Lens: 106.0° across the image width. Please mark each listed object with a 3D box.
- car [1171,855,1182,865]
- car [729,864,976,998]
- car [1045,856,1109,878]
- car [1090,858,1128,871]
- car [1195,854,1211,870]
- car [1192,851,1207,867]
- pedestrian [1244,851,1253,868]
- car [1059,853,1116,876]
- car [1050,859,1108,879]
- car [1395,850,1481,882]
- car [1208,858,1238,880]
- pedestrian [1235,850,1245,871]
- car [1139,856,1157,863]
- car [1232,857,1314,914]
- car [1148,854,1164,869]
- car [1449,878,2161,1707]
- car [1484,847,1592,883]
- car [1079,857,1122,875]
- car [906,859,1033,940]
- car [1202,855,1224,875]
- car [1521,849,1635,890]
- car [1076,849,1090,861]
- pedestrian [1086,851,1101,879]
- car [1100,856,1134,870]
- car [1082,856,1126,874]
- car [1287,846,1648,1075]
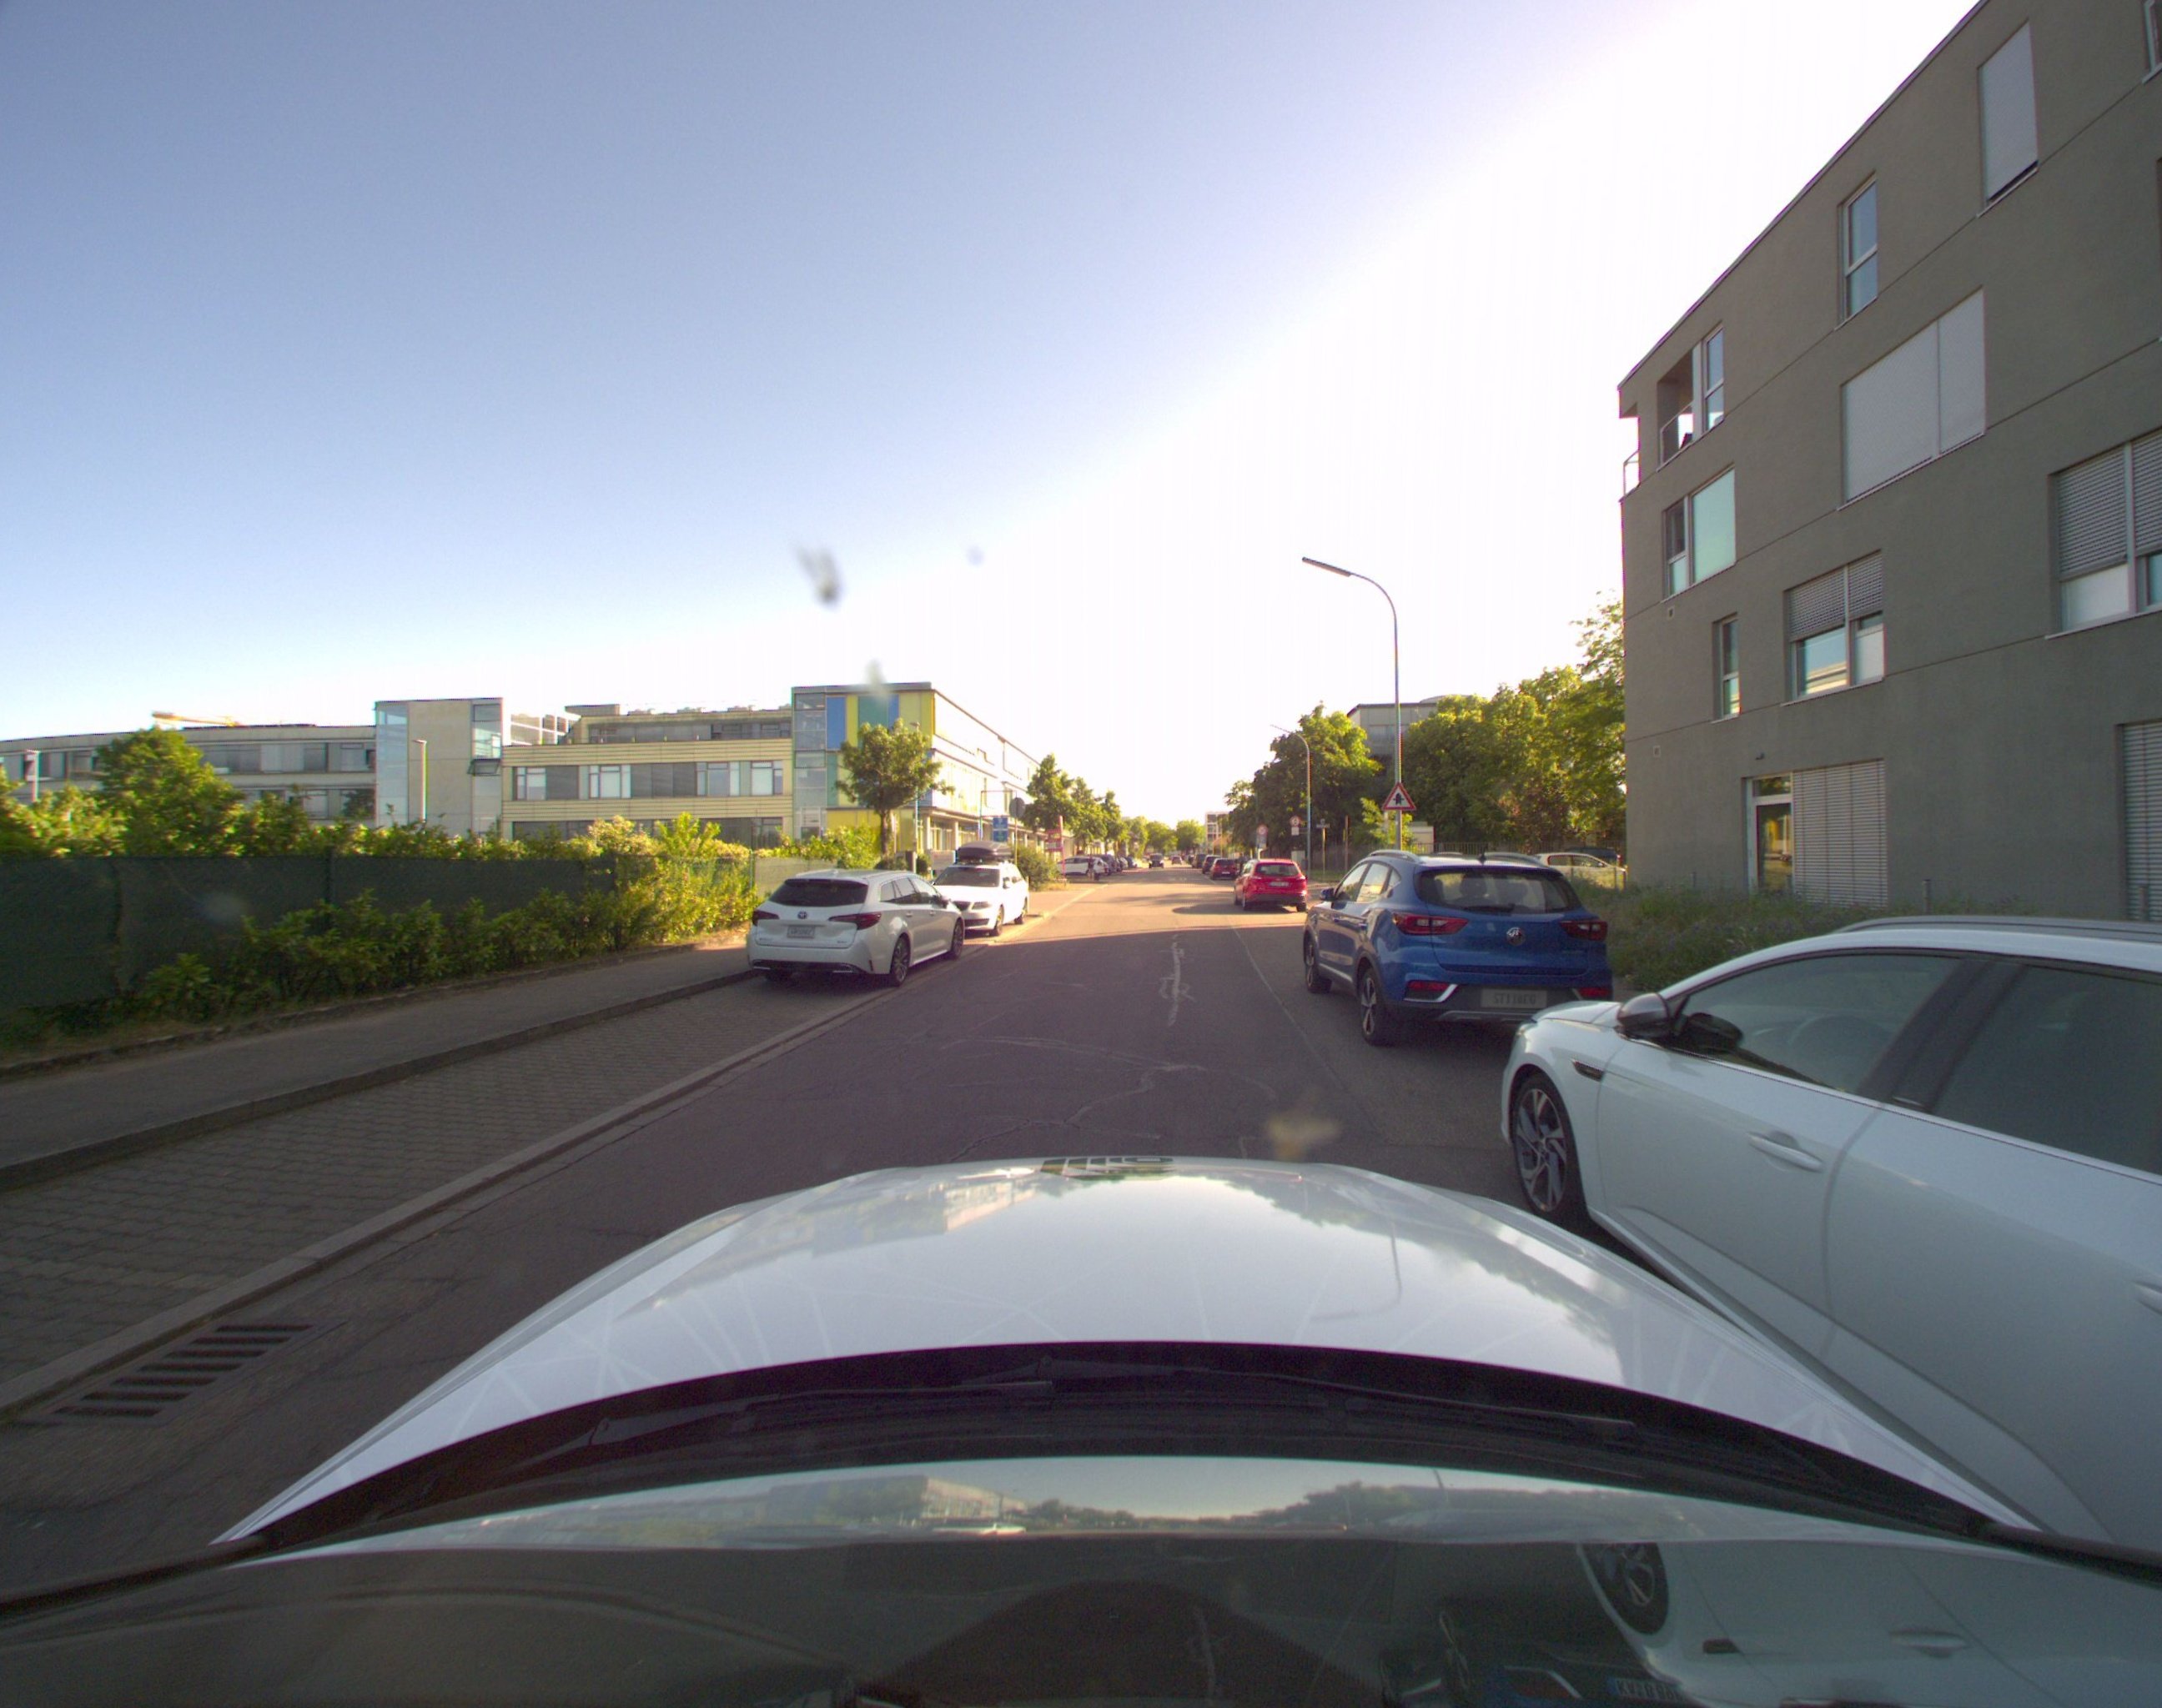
[{"bbox_3d":[16.021,0.991,136.453,1.734,1.543,4.007,0,0,6],"label":"car"},{"bbox_3d":[-2.929,0.908,11.624,1.738,1.446,4.550,1,0,7],"label":"car"},{"bbox_3d":[-0.276,0.981,61.549,4.584,1.651,1.872,-1,-1,9],"label":"car"},{"bbox_3d":[2.953,1.104,85.250,3.971,1.358,1.744,1,0,2],"label":"car"},{"bbox_3d":[14.570,0.903,97.469,1.724,1.830,3.912,-1,0,7],"label":"car"},{"bbox_3d":[15.941,0.667,109.906,1.865,1.978,4.007,-2,0,6],"label":"car"},{"bbox_3d":[16.704,0.585,81.209,0.695,1.661,0.753,-3,-1,6],"label":"pedestrian"},{"bbox_3d":[0.579,0.875,69.882,4.717,1.865,1.831,1,0,6],"label":"car"},{"bbox_3d":[-0.130,1.183,64.264,4.410,1.501,1.831,-1,-1,6],"label":"car"},{"bbox_3d":[17.241,0.577,39.444,3.527,1.486,1.603,-1,0,7],"label":"car"},{"bbox_3d":[9.858,1.014,56.661,1.711,1.455,4.659,0,0,6],"label":"car"},{"bbox_3d":[13.939,0.540,71.229,0.714,1.758,0.886,-3,-1,7],"label":"pedestrian"},{"bbox_3d":[15.222,1.235,185.567,3.966,1.519,2.003,-1,-2,6],"label":"car"},{"bbox_3d":[5.633,0.857,24.378,1.810,1.499,4.459,1,0,6],"label":"car"},{"bbox_3d":[9.872,1.003,107.258,1.945,1.867,5.264,-1,0,6],"label":"car"},{"bbox_3d":[2.624,0.853,2.135,1.735,1.429,4.595,1,0,7],"label":"car"},{"bbox_3d":[21.648,0.519,38.733,4.130,1.637,1.759,-1,0,7],"label":"car"},{"bbox_3d":[1.848,1.094,76.791,3.971,1.607,1.873,1,0,2],"label":"car"},{"bbox_3d":[-2.294,0.880,17.994,1.687,1.513,4.525,1,0,6],"label":"car"},{"bbox_3d":[11.739,0.924,72.622,1.802,1.666,4.602,0,1,7],"label":"car"},{"bbox_3d":[18.840,0.592,30.988,3.305,1.458,1.720,-1,0,11],"label":"car"},{"bbox_3d":[0.313,0.243,141.961,1.983,2.014,4.007,-1,-2,6],"label":"car"},{"bbox_3d":[0.852,0.732,54.084,0.853,1.842,0.827,1,0,8],"label":"pedestrian"},{"bbox_3d":[4.569,1.125,102.447,4.197,1.603,1.873,1,0,2],"label":"car"},{"bbox_3d":[2.259,1.067,79.724,4.229,1.612,2.049,1,0,2],"label":"car"},{"bbox_3d":[3.352,0.765,8.167,1.808,1.600,4.634,1,0,6],"label":"car"}]
